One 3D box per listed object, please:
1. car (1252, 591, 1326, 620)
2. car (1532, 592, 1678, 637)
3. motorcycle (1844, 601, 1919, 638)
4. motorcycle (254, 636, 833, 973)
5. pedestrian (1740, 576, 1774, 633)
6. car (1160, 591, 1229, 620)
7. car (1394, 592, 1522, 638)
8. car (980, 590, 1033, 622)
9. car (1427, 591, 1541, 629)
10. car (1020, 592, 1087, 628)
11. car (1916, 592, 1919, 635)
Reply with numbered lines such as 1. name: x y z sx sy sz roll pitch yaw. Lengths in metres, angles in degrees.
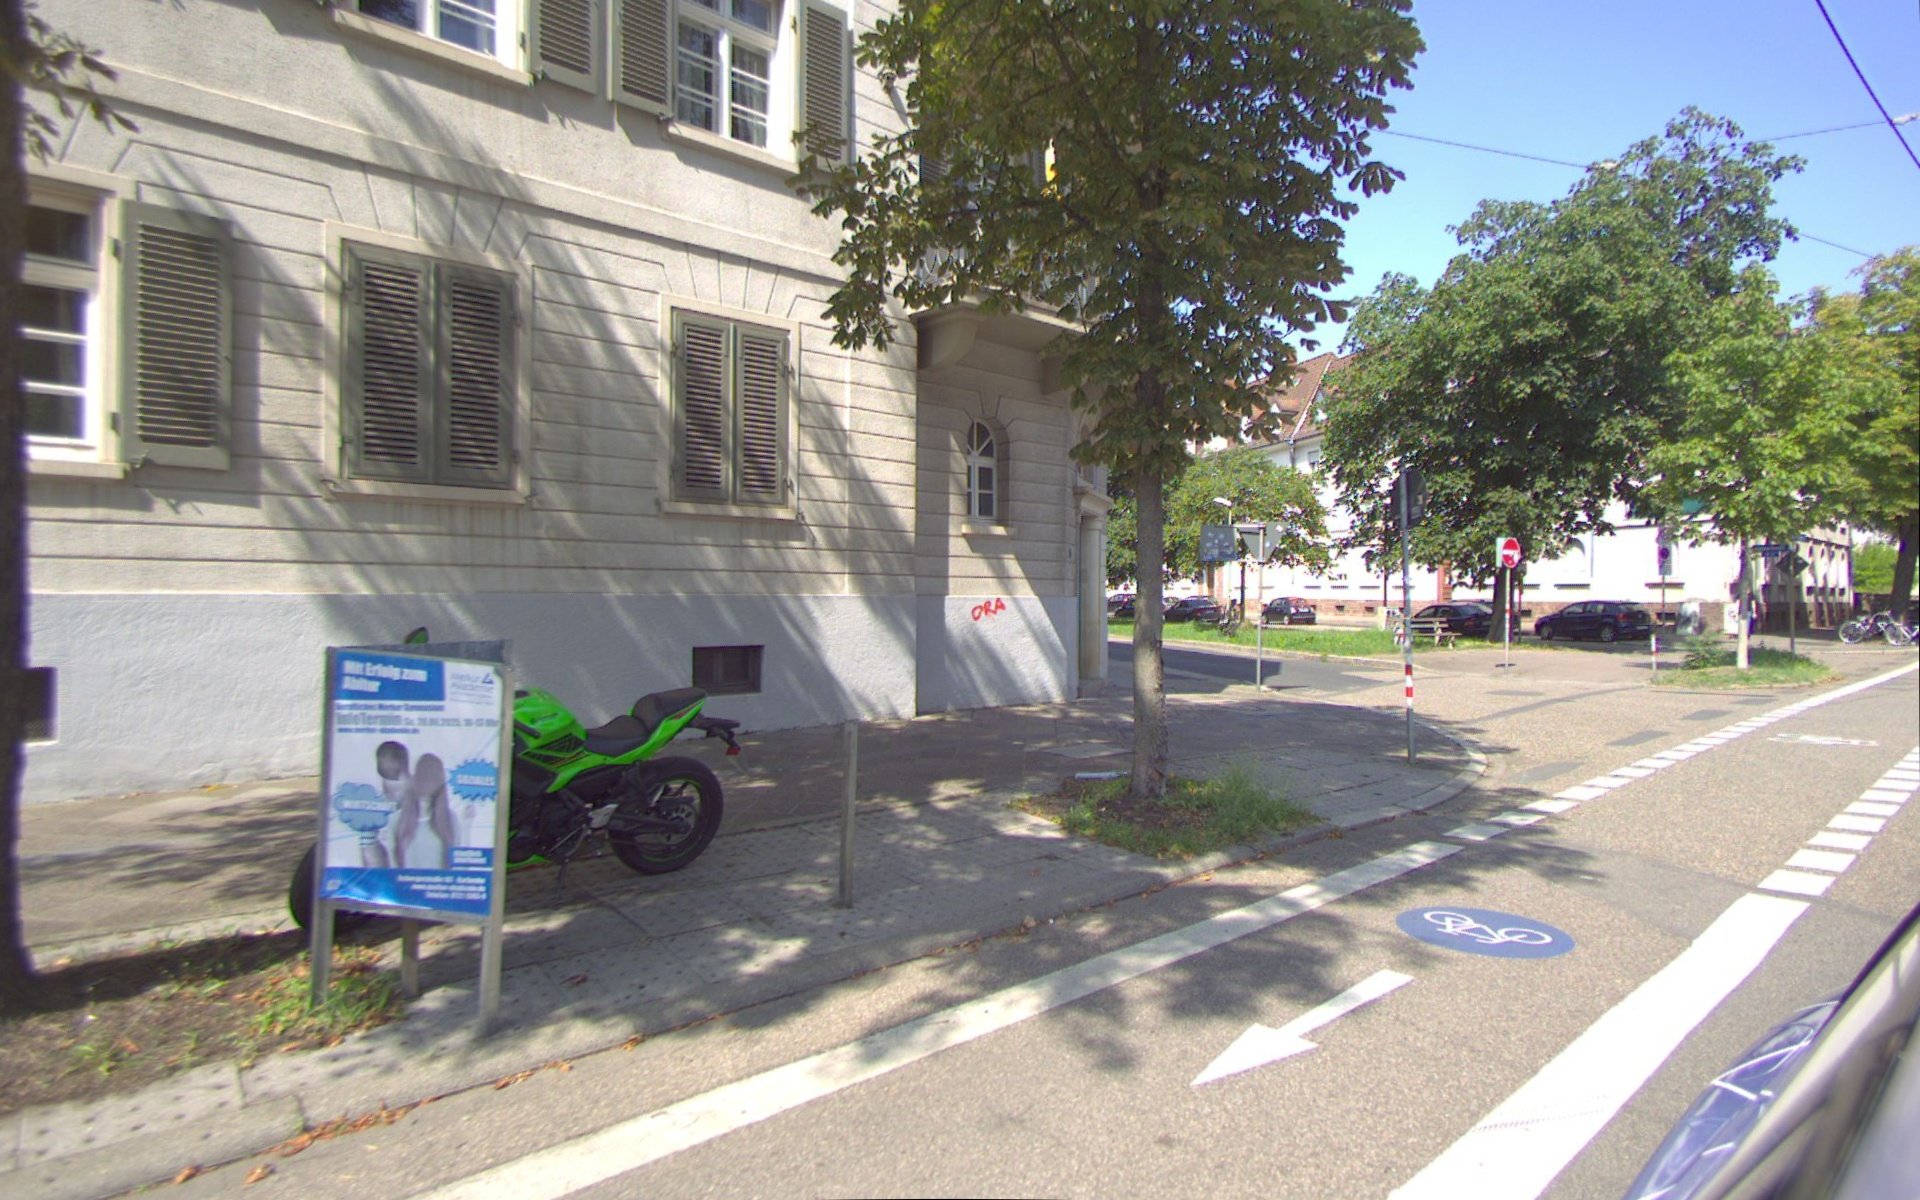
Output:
1. car: 17.553 0.270 54.153 1.934 1.457 4.008 0 1 -14
2. car: 22.530 0.464 35.521 1.933 1.461 4.009 0 1 -18
3. motorcycle: 29.276 0.601 31.885 0.782 1.027 1.999 0 4 -41
4. motorcycle: -1.845 0.793 4.861 2.456 1.125 0.827 -1 1 -44
5. pedestrian: 25.750 0.145 32.704 0.621 1.808 0.749 0 0 -40
6. car: 12.344 0.262 53.449 1.799 1.448 4.287 0 1 -14
7. car: 17.022 0.473 34.800 1.799 1.448 4.008 0 1 -14
8. car: 2.292 0.264 50.712 1.565 1.497 4.008 0 1 -14
9. car: 21.145 0.372 41.020 1.934 1.457 4.008 0 1 -14
10. car: 3.981 0.399 43.754 1.652 1.497 4.008 0 1 -14
11. car: 36.099 0.474 36.747 3.981 1.516 1.597 0 1 -41
